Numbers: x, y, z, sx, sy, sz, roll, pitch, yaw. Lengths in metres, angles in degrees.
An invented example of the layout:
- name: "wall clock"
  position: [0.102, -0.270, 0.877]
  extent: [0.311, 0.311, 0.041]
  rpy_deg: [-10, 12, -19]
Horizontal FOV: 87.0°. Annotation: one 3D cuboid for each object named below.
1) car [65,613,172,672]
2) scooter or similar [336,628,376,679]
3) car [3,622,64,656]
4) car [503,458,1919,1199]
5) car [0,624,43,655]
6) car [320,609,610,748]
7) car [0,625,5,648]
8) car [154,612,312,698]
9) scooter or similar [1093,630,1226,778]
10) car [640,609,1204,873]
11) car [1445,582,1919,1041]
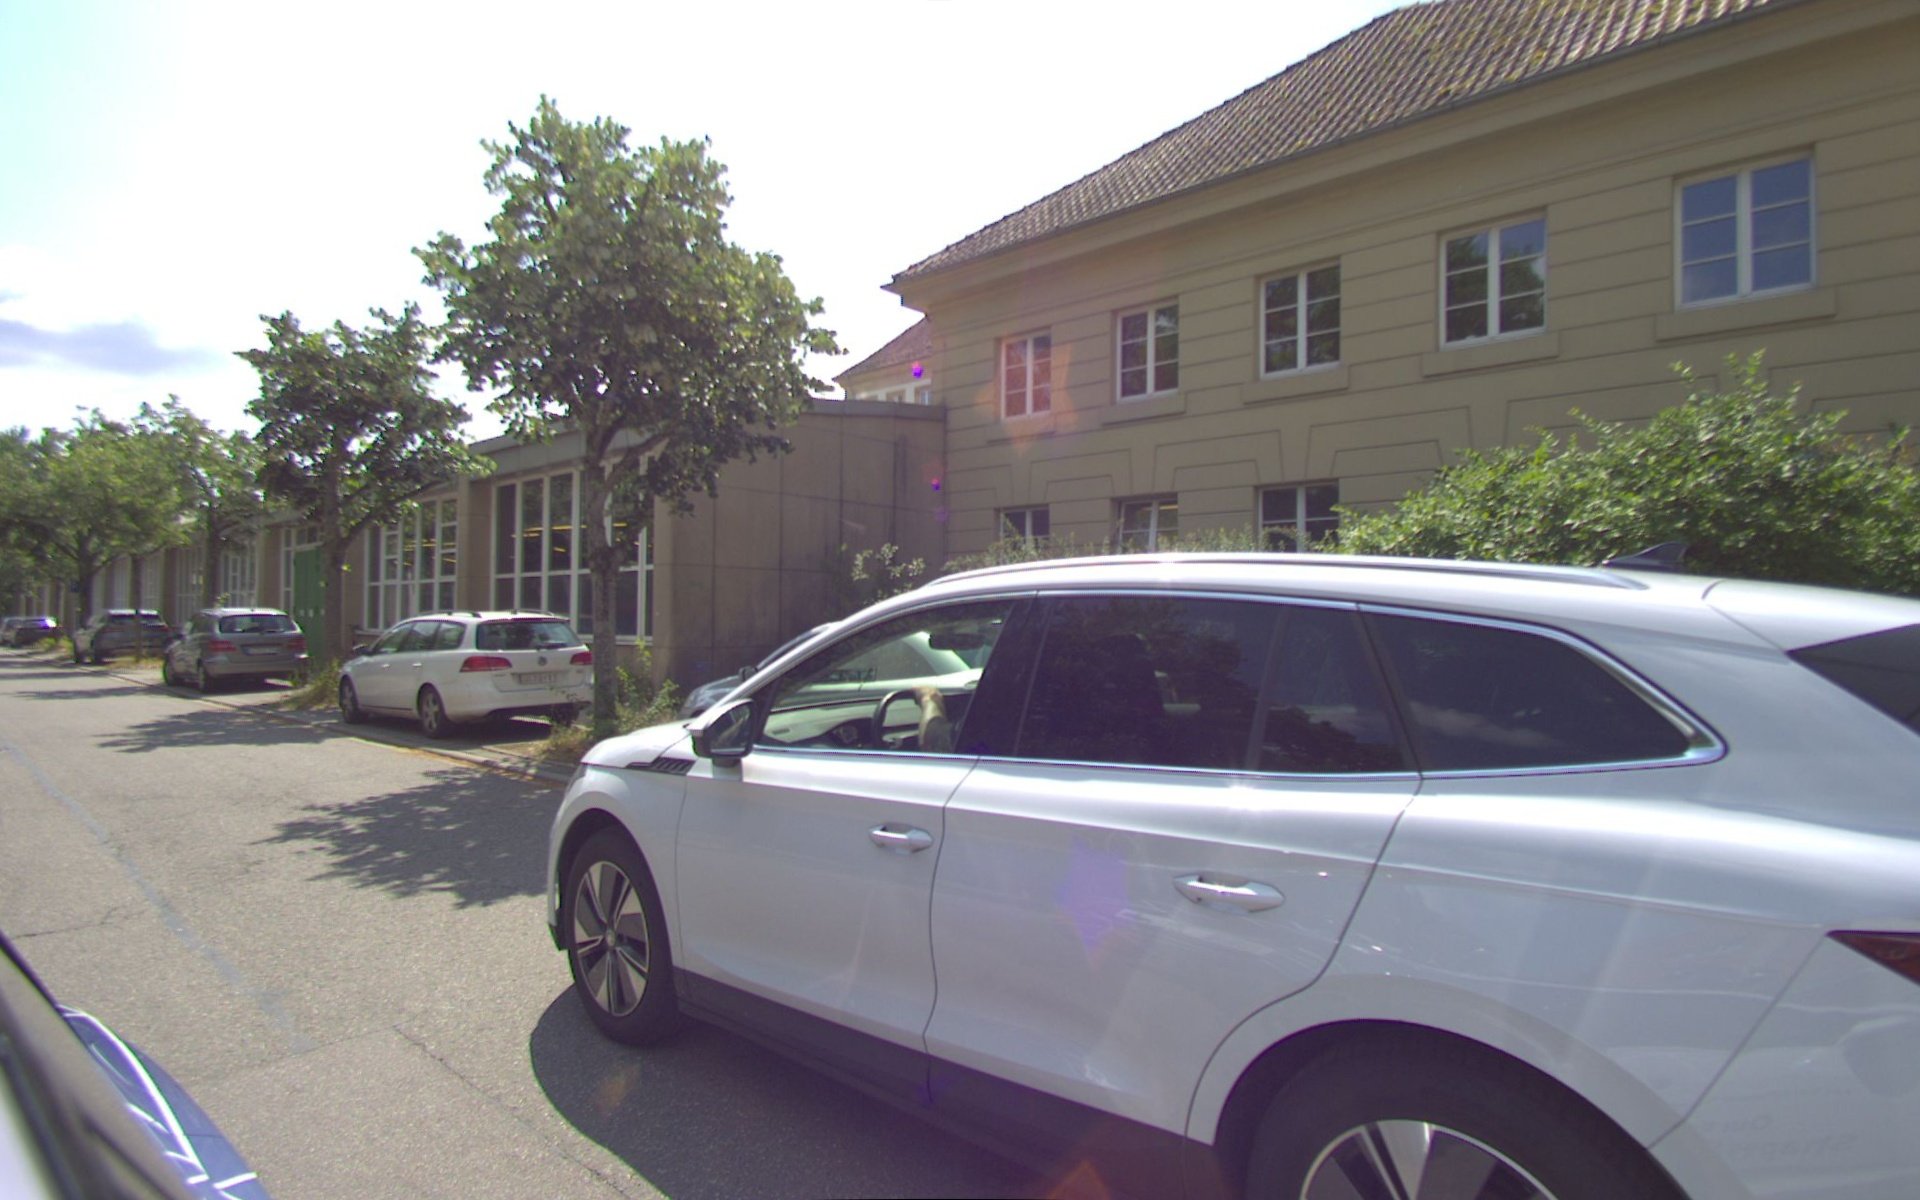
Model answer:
- name: "car"
  position: [-26.205, 1.272, 31.465]
  extent: [4.514, 1.645, 1.803]
  rpy_deg: [-1, 0, 40]
- name: "scooter or similar"
  position: [-14.629, 1.283, 24.509]
  extent: [1.215, 1.178, 0.500]
  rpy_deg: [-1, -1, 43]
- name: "car"
  position: [-43.504, 1.826, 47.489]
  extent: [4.288, 1.446, 1.707]
  rpy_deg: [-2, -1, 42]
- name: "car"
  position: [0.606, 0.621, 3.001]
  extent: [4.519, 1.631, 1.898]
  rpy_deg: [0, 1, 42]
- name: "car"
  position: [-47.758, 1.980, 51.200]
  extent: [3.751, 1.460, 1.612]
  rpy_deg: [-1, 0, 42]
- name: "car"
  position: [-6.504, 0.878, 13.049]
  extent: [4.581, 1.467, 1.707]
  rpy_deg: [-1, 0, 41]
- name: "car"
  position: [-64.018, 2.417, 66.341]
  extent: [3.675, 1.460, 1.780]
  rpy_deg: [-1, 0, 42]
- name: "car"
  position: [-14.967, 1.051, 20.762]
  extent: [4.111, 1.568, 1.739]
  rpy_deg: [-1, 0, 41]
- name: "scooter or similar"
  position: [1.707, 0.857, 8.810]
  extent: [0.463, 1.180, 1.231]
  rpy_deg: [1, -1, -27]
- name: "car"
  position: [-0.513, 0.788, 7.395]
  extent: [4.166, 1.354, 1.706]
  rpy_deg: [-2, 0, 44]
- name: "car"
  position: [3.914, 0.643, 3.392]
  extent: [3.806, 1.422, 1.644]
  rpy_deg: [-2, -1, 42]
